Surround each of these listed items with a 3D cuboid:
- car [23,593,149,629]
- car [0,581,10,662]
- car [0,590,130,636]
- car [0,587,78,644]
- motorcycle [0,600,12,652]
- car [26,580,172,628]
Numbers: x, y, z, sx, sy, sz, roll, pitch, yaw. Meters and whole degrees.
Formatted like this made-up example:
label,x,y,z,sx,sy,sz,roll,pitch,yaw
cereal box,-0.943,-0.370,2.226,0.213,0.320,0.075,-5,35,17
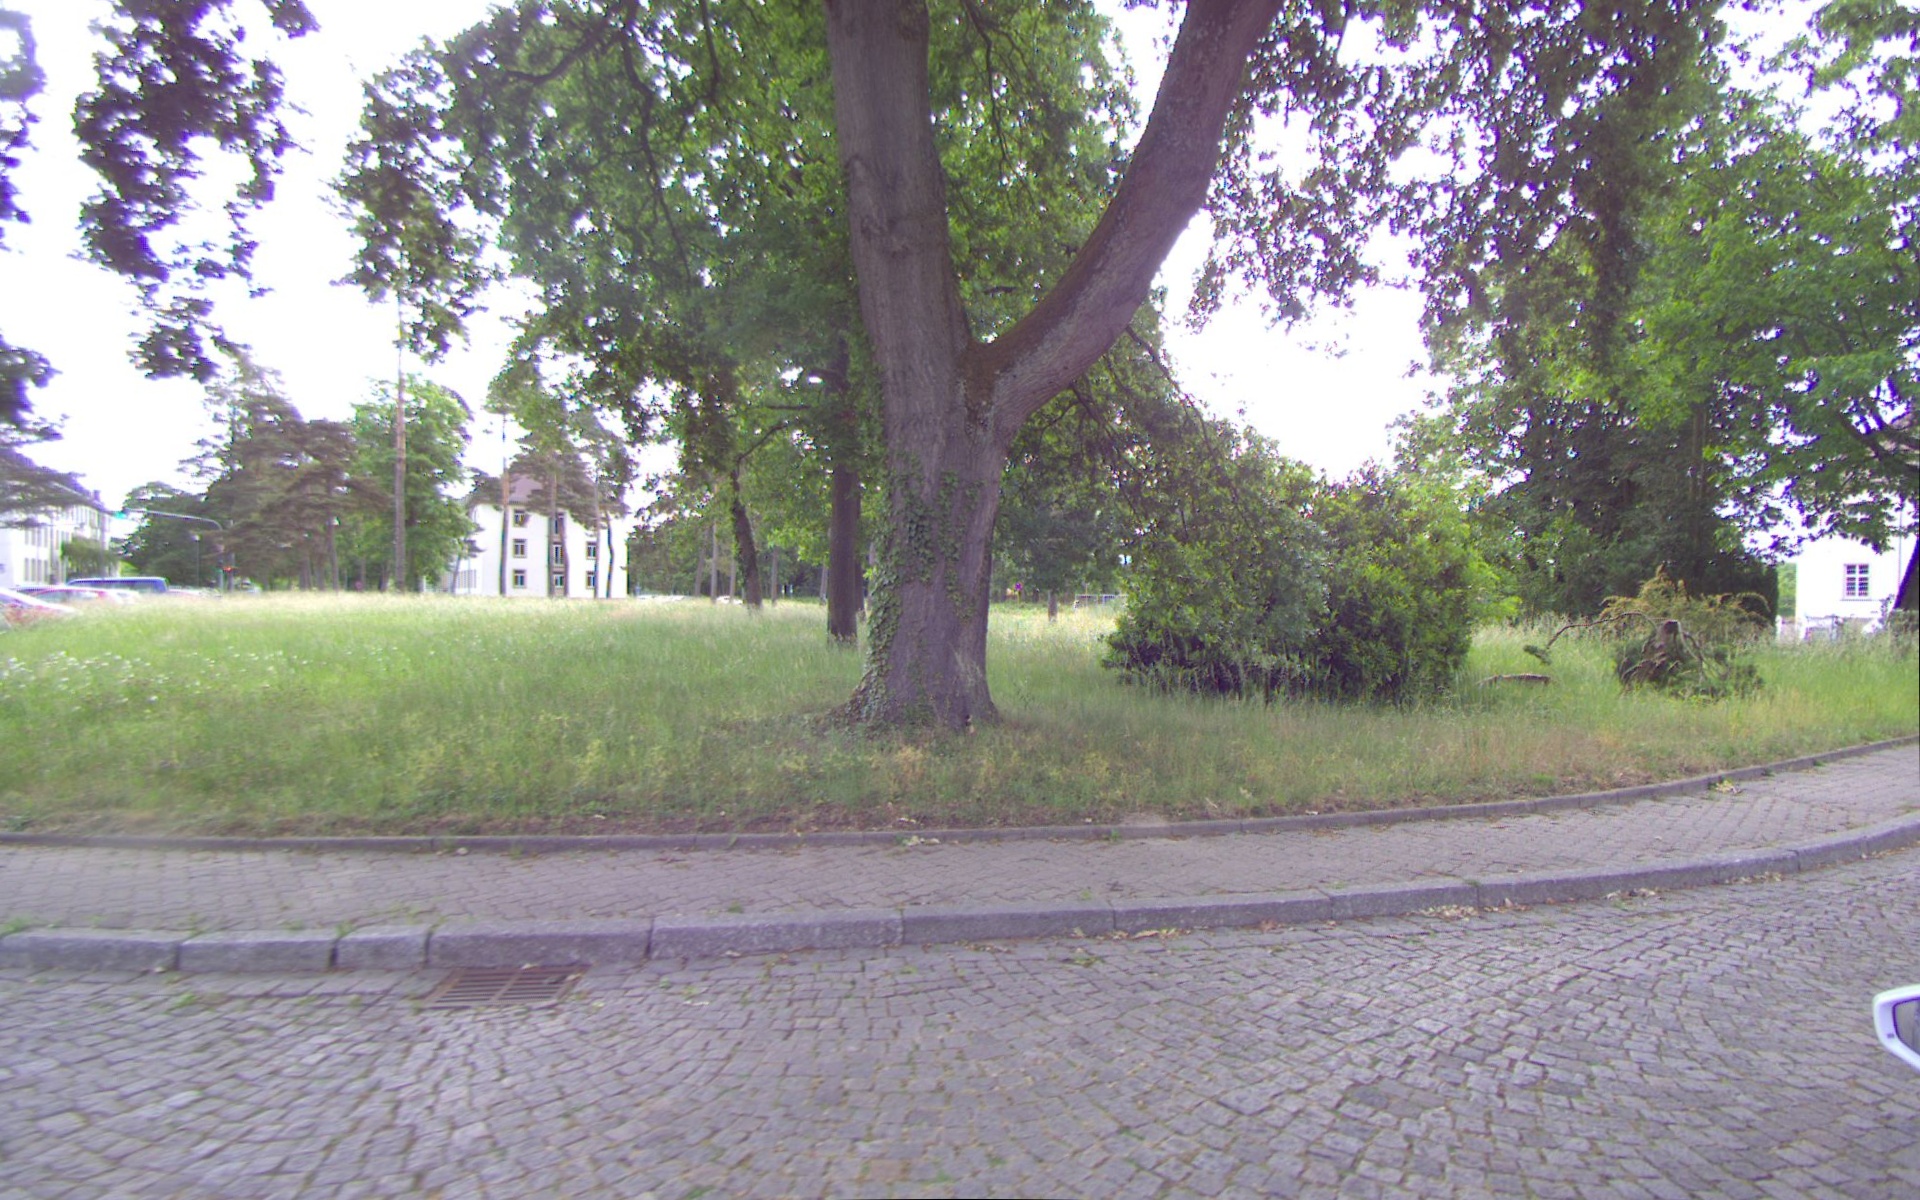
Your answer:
label,x,y,z,sx,sy,sz,roll,pitch,yaw
car,-35.436,0.416,40.835,3.658,1.357,1.568,-2,2,-35
car,-20.669,0.446,18.518,4.322,1.583,1.747,-1,1,-35
car,-30.204,0.414,33.565,3.627,1.440,1.561,-2,2,-36
car,-26.233,0.429,27.083,3.464,1.502,1.586,-2,2,-35
motorcycle,-23.480,0.613,23.450,1.898,1.209,0.544,0,1,-39
car,-36.699,0.133,42.993,4.500,1.927,1.775,-2,2,-35
